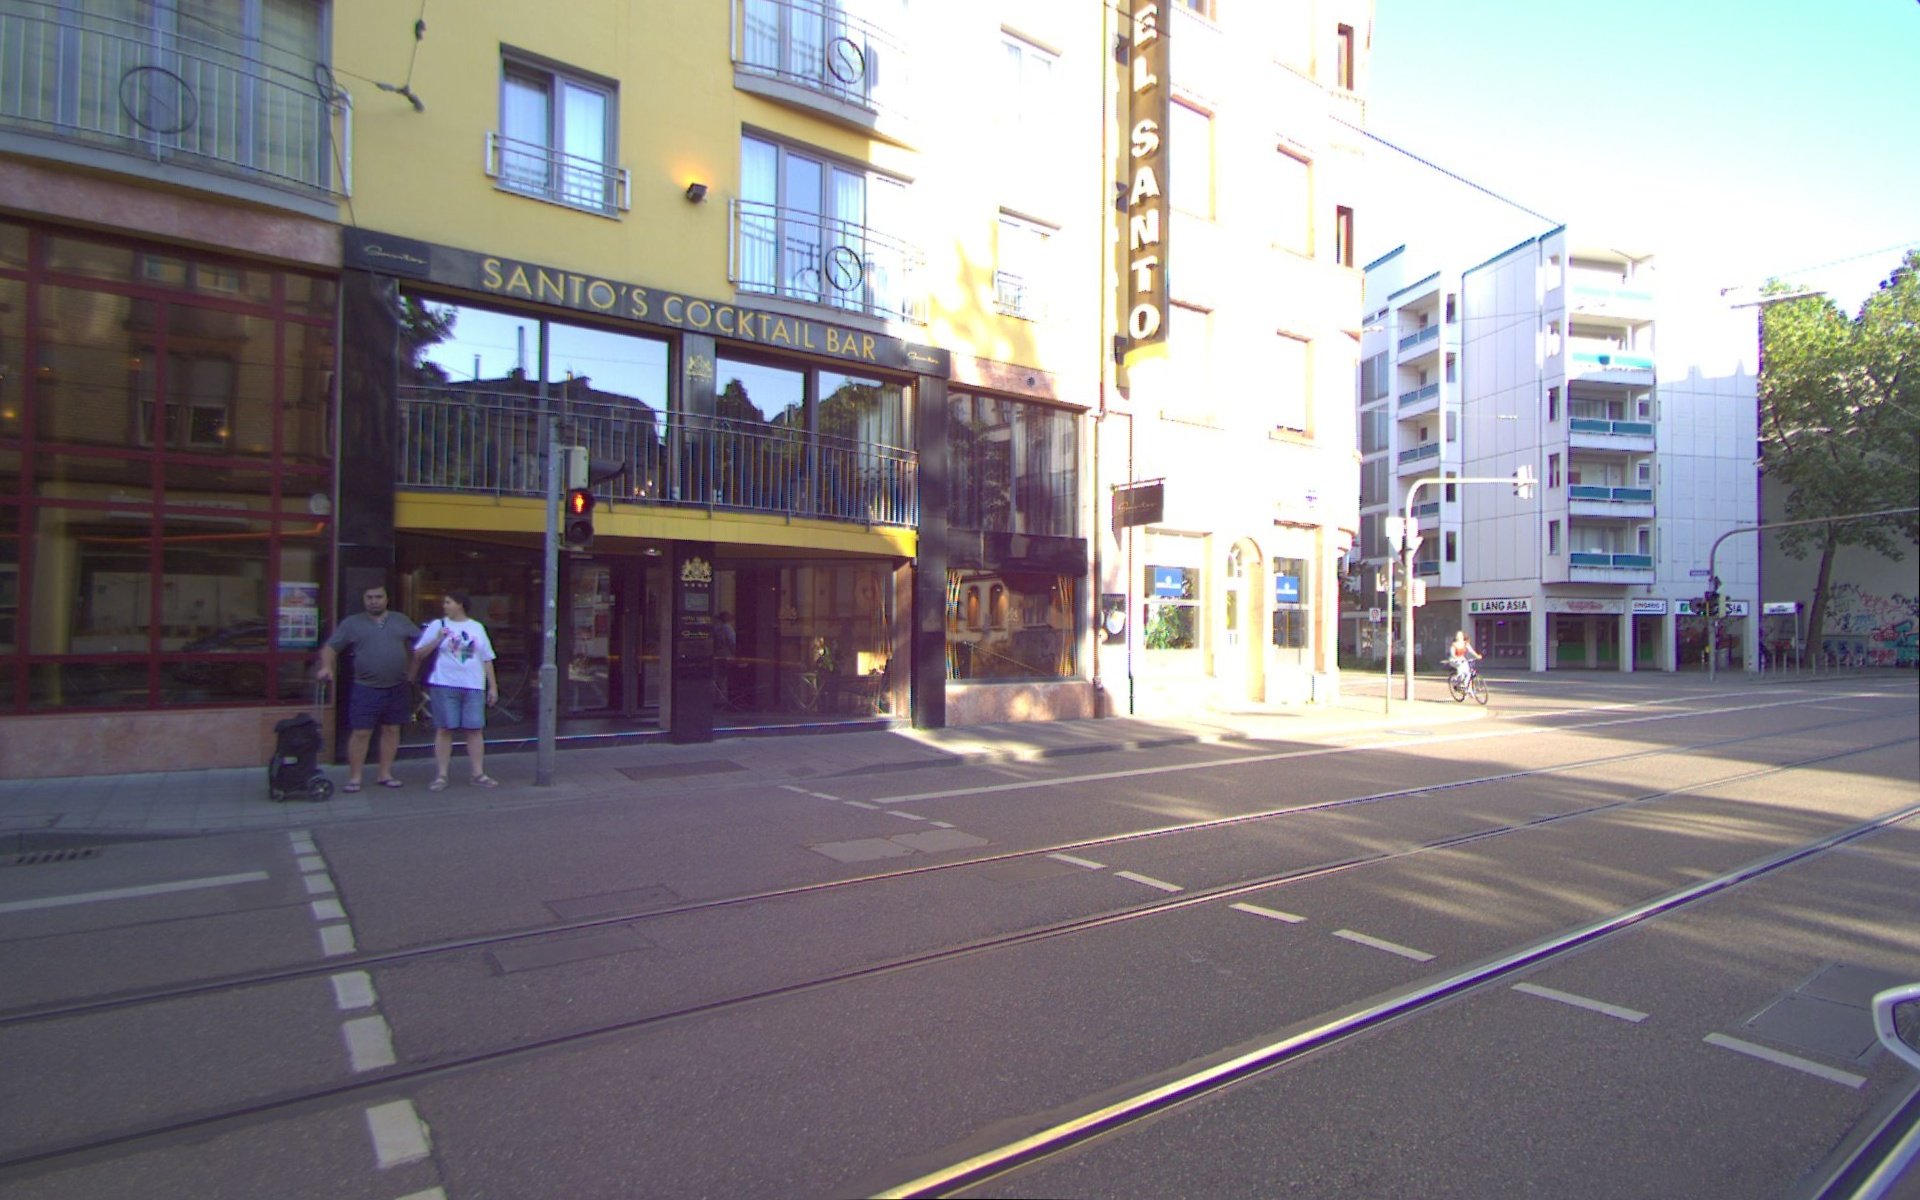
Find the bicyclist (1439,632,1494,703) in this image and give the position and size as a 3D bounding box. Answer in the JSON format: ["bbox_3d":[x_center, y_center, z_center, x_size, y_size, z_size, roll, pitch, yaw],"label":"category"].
[{"bbox_3d":[12.231,1.610,24.255,0.693,1.665,0.986,1,-2,-21],"label":"bicyclist"}]

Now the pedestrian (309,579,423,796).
[{"bbox_3d":[-5.297,0.740,8.948,0.792,1.795,0.742,1,3,-36],"label":"pedestrian"}]

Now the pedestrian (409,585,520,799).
[{"bbox_3d":[-4.693,0.814,9.493,0.747,1.843,1.035,1,3,-36],"label":"pedestrian"}]

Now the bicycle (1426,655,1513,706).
[{"bbox_3d":[12.233,1.922,24.181,0.688,1.124,1.889,1,-2,-21],"label":"bicycle"}]

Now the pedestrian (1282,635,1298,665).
[{"bbox_3d":[19.343,2.939,58.882,0.651,1.718,0.647,1,-1,-12],"label":"pedestrian"}]

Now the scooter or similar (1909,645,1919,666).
[{"bbox_3d":[48.882,2.837,51.209,1.465,1.071,0.513,2,-2,-38],"label":"scooter or similar"}]

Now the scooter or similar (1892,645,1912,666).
[{"bbox_3d":[48.489,2.849,51.720,1.465,1.059,0.513,2,-2,-38],"label":"scooter or similar"}]

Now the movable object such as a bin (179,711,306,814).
[{"bbox_3d":[-5.940,1.329,8.349,0.832,0.726,0.381,1,3,-34],"label":"movable object such as a bin"}]
